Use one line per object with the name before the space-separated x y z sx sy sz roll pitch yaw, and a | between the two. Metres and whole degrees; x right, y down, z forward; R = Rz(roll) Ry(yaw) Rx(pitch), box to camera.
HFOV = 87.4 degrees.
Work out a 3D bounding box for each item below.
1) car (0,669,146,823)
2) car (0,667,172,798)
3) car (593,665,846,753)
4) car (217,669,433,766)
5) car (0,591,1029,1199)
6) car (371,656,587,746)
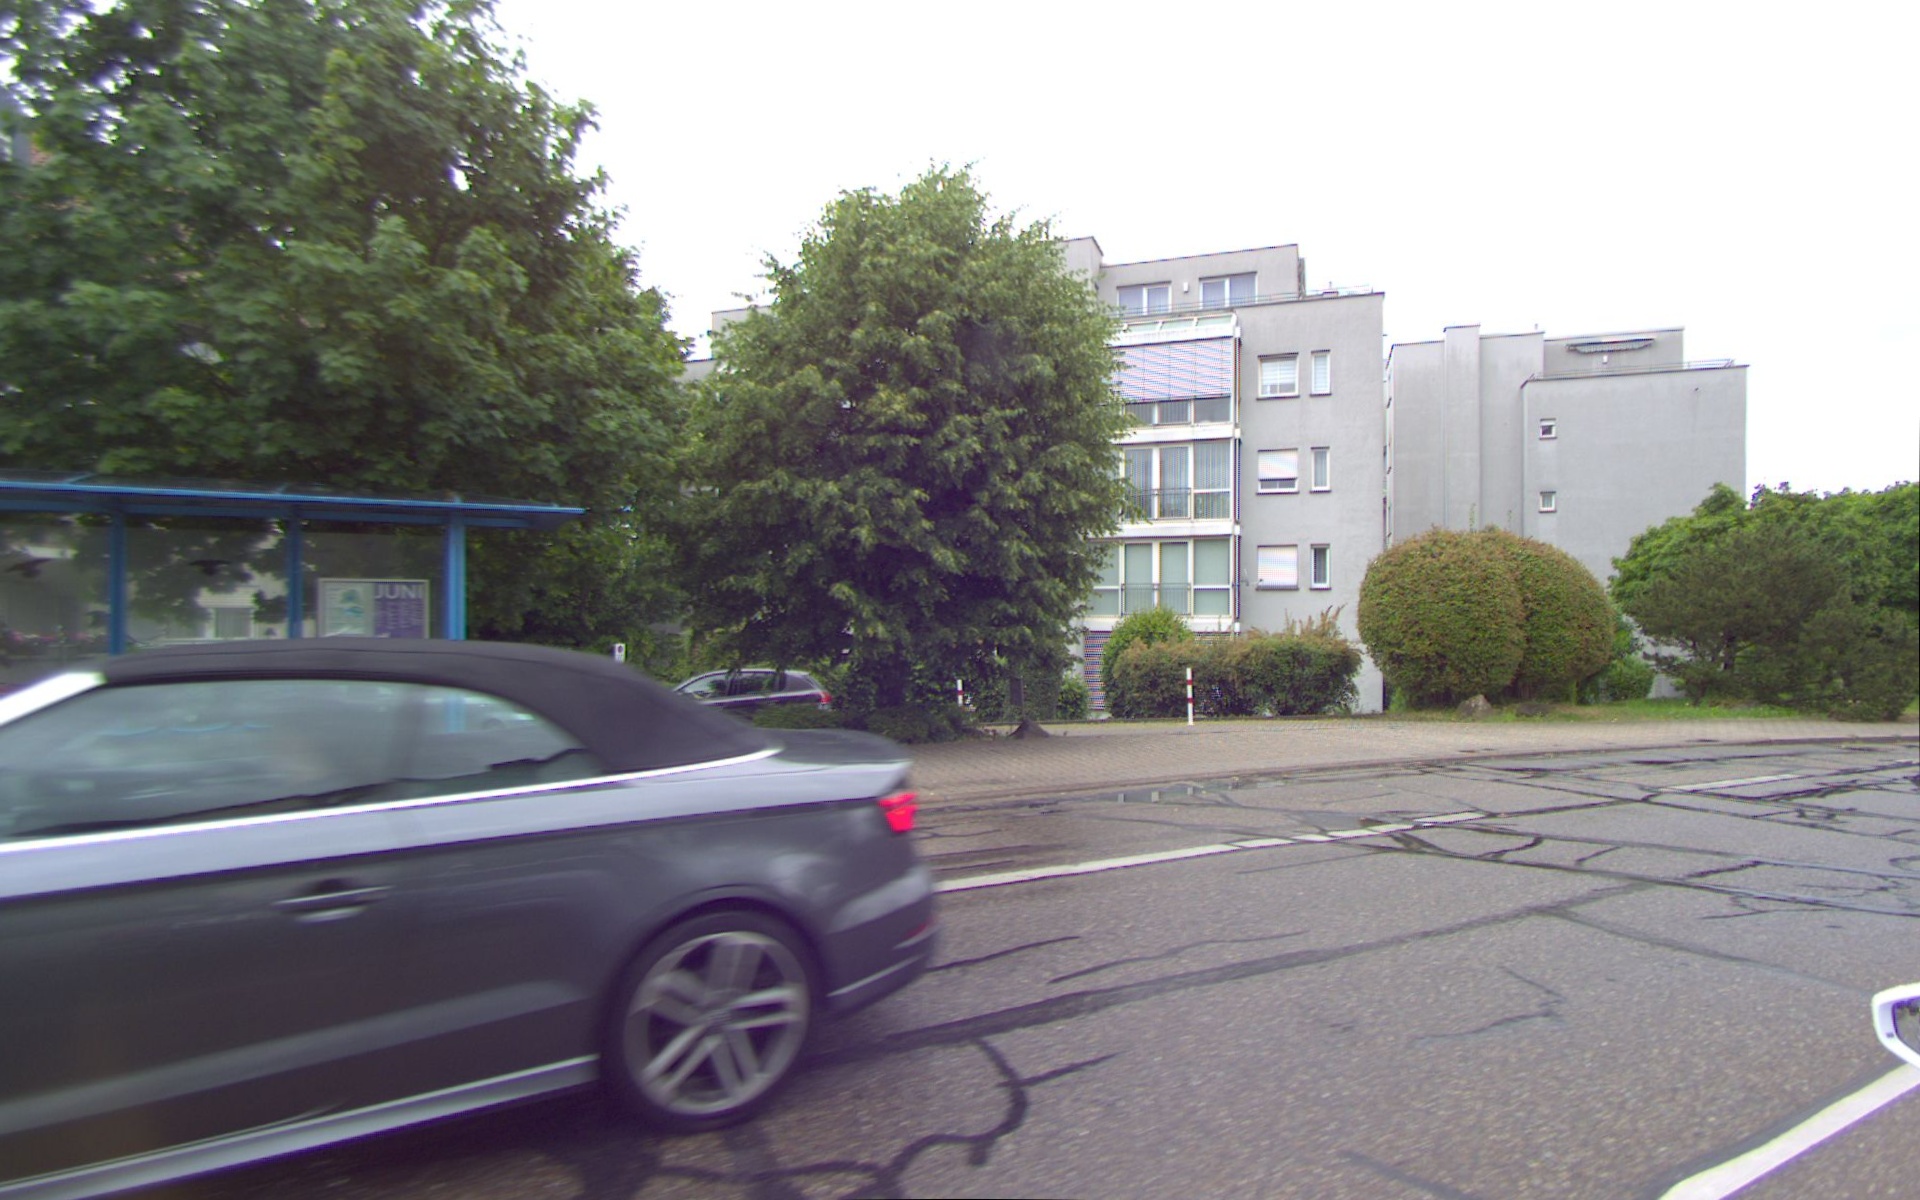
car | -11.142 1.518 10.459 3.961 1.483 1.757 2 -1 -35
car | -12.401 1.628 12.491 3.961 1.483 1.600 2 -1 -35
car | -4.165 1.938 18.018 4.085 1.439 2.001 0 -6 -3
car | -11.473 2.058 18.172 3.365 1.413 1.670 1 -1 23
car | -1.888 0.749 3.116 3.953 1.462 1.666 2 -2 -30
car | -9.362 1.910 19.603 3.642 1.451 1.671 1 -1 19
